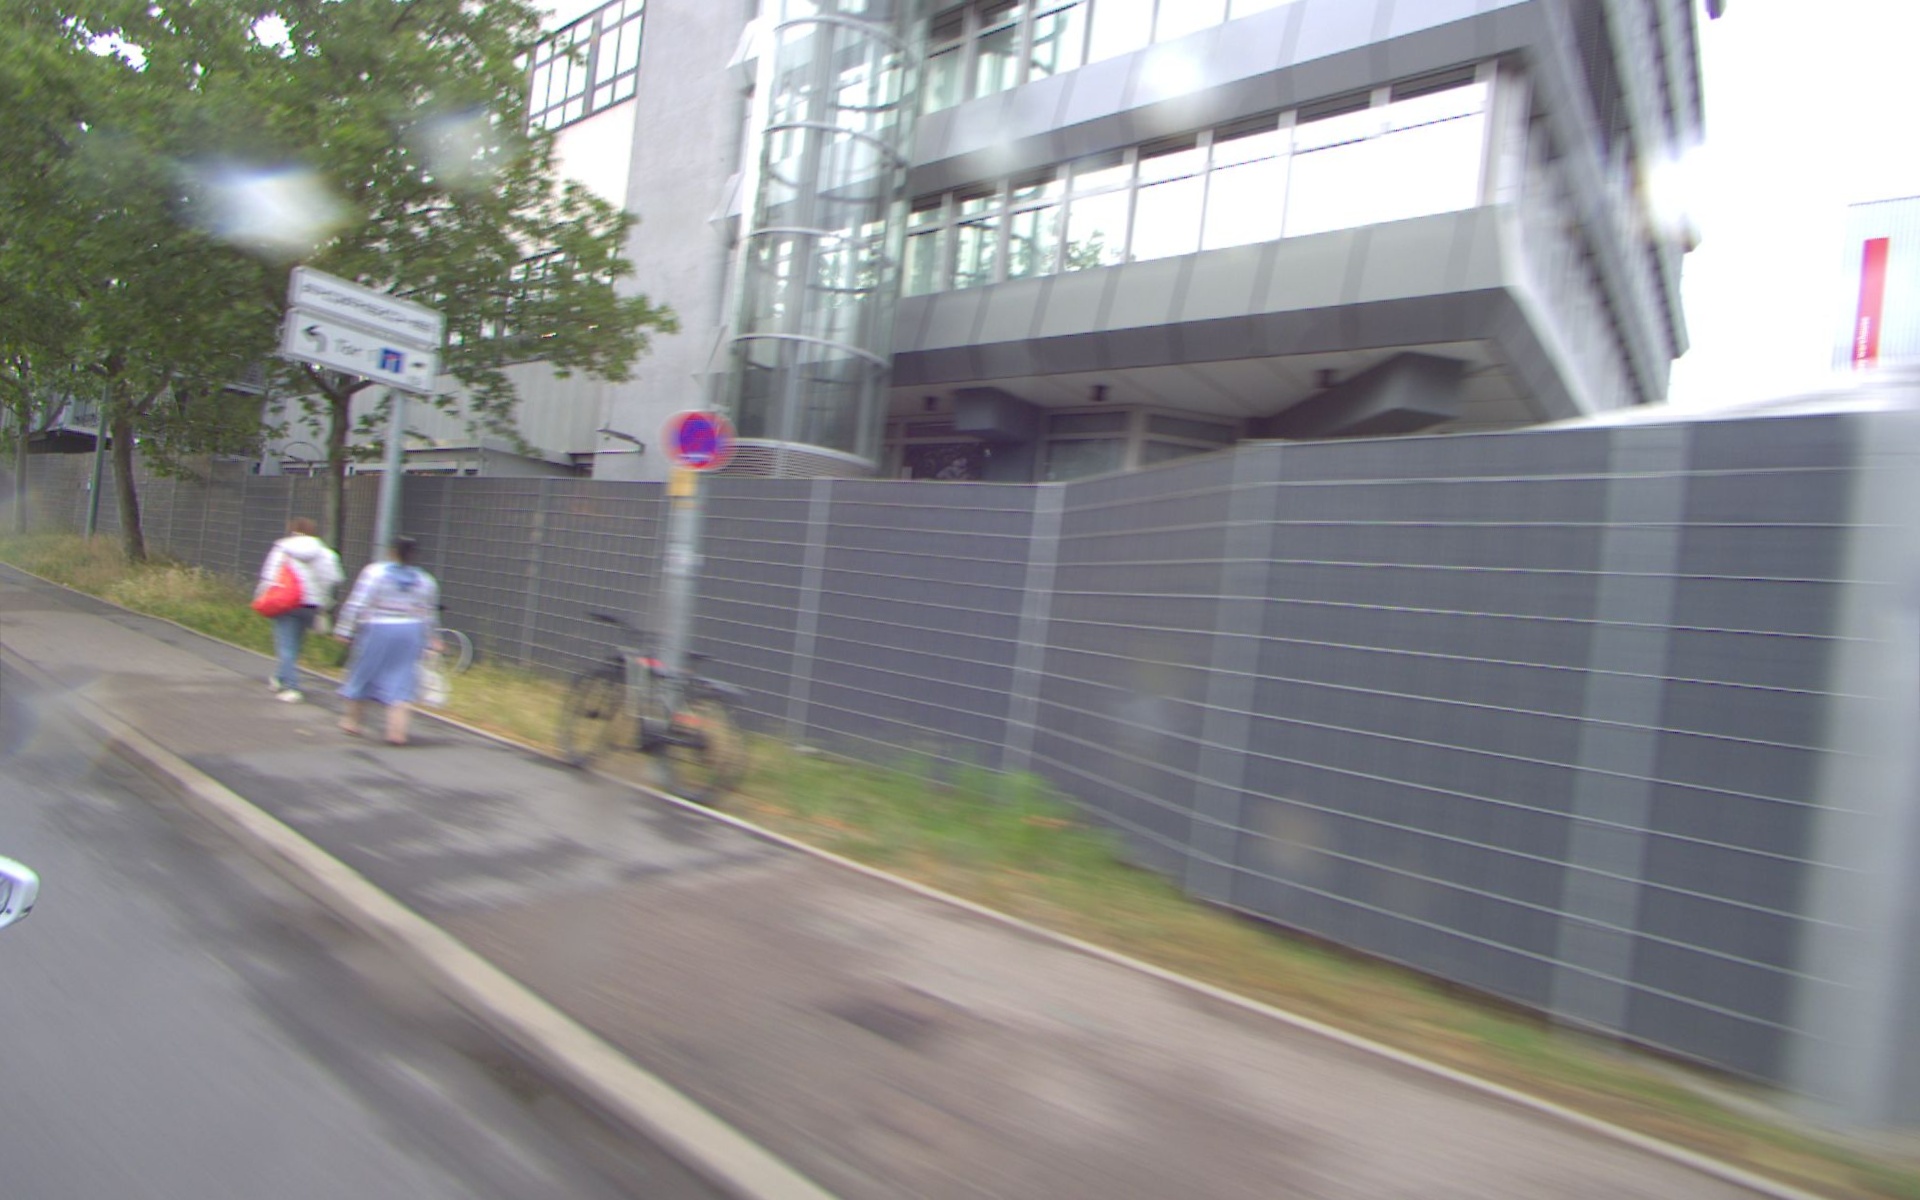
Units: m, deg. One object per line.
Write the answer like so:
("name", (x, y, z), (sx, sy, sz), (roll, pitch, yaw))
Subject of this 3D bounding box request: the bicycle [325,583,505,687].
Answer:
("bicycle", (-6.224, 0.400, 11.537), (1.671, 0.965, 0.513), (7, 0, -2))

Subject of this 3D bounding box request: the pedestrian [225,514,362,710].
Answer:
("pedestrian", (-5.899, 0.106, 8.900), (0.829, 1.611, 0.707), (7, 0, 43))

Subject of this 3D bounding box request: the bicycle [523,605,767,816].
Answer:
("bicycle", (-2.214, 0.703, 6.925), (1.941, 1.132, 0.342), (7, 0, 33))

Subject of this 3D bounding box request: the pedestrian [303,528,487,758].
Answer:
("pedestrian", (-4.157, 0.312, 7.404), (0.830, 1.539, 0.830), (7, 0, 43))
